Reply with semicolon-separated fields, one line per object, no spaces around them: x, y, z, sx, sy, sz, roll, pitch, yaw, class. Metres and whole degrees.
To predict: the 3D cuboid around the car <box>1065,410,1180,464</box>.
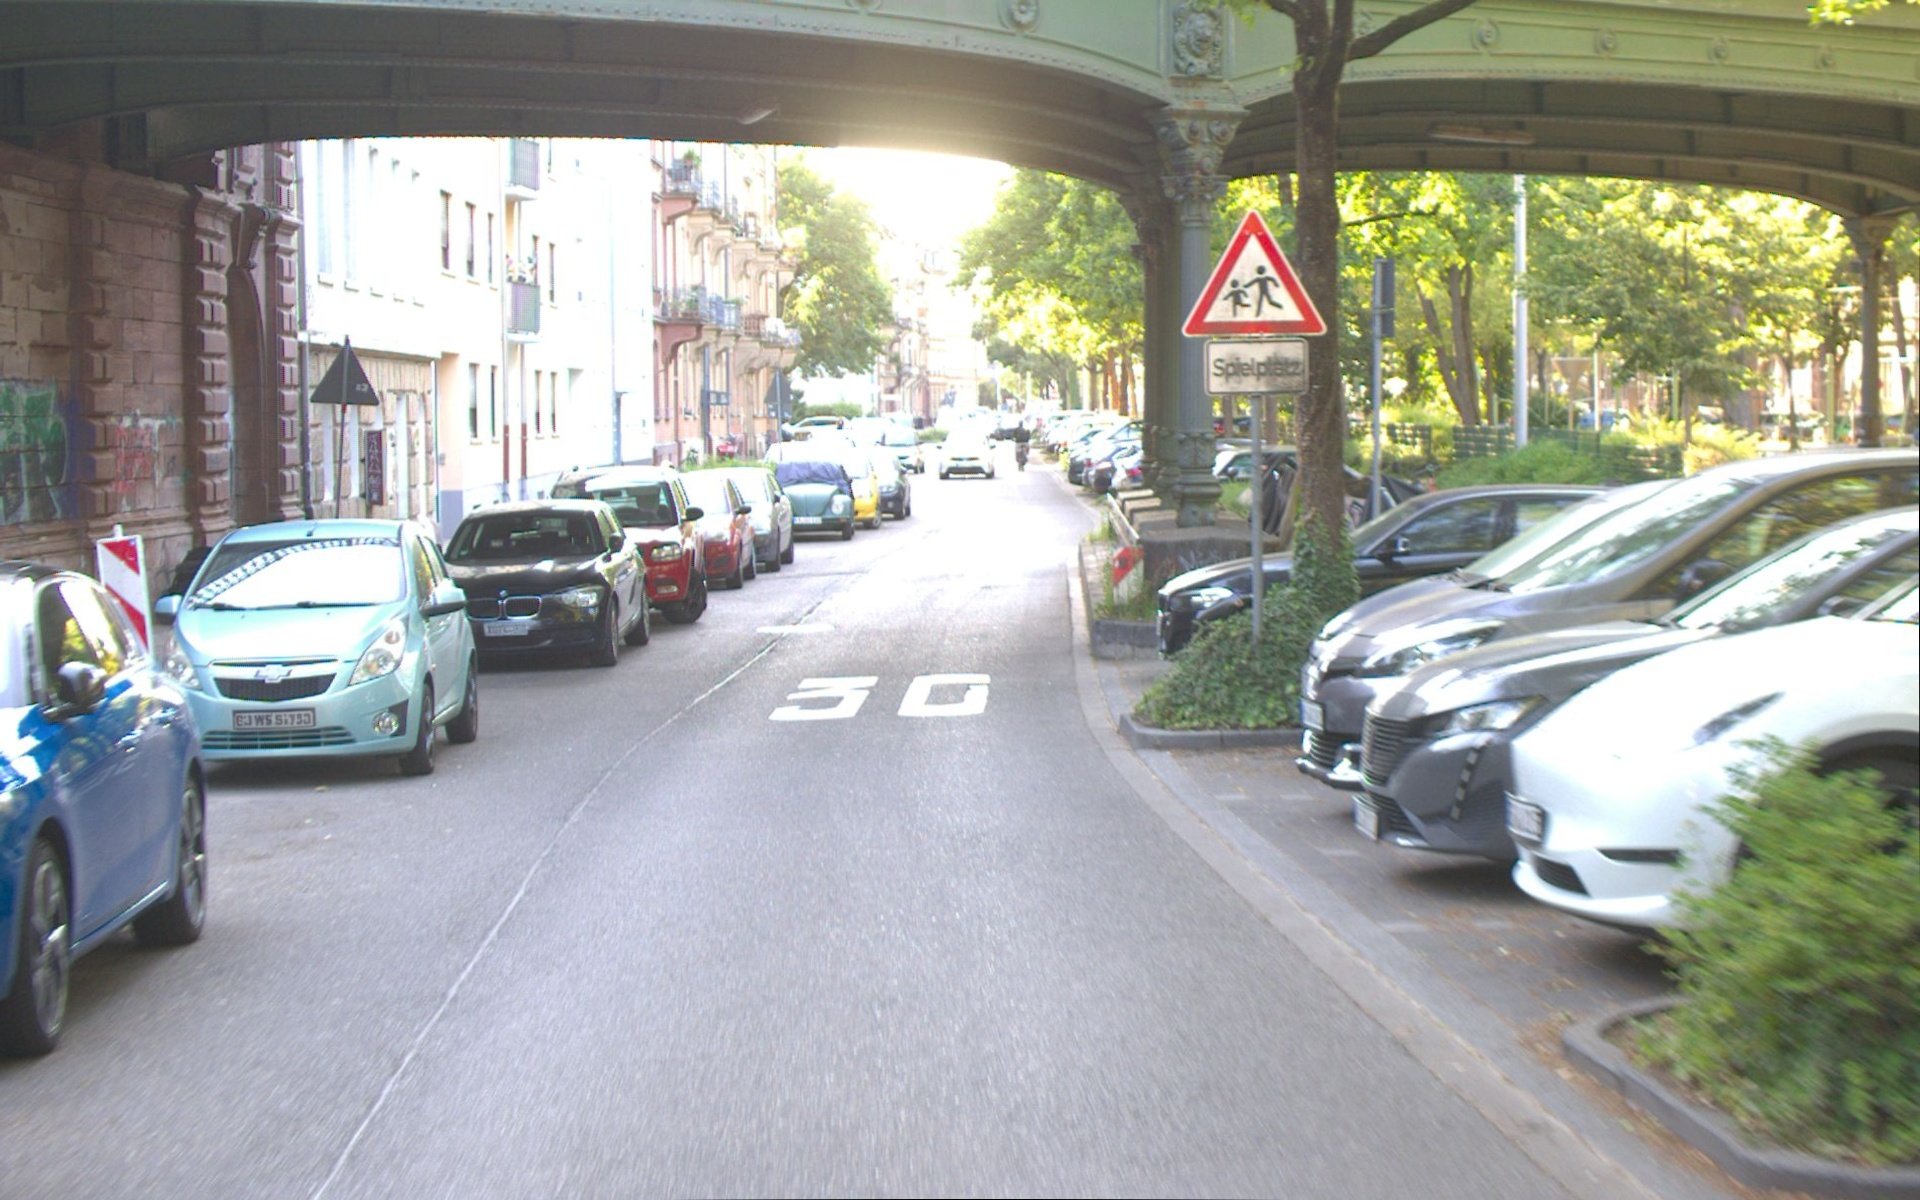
6.086;-6.135;129.215;4.220;1.857;1.762;-2;3;2;car

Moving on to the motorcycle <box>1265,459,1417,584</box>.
4.393;-0.908;39.601;1.602;1.403;0.712;1;2;21;motorcycle

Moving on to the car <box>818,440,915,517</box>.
-1.909;-2.542;71.502;1.739;1.474;4.001;-1;3;2;car

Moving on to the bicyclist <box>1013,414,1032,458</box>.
2.232;-5.846;122.571;0.627;1.567;0.802;1;1;-1;bicyclist

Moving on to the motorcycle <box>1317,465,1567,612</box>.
4.141;-0.531;29.575;1.929;1.233;0.905;0;2;-24;motorcycle

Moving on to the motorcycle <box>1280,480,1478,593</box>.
4.302;-0.652;35.313;1.831;1.128;0.851;0;2;-22;motorcycle

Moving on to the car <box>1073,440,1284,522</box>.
3.999;-2.187;63.380;3.782;1.396;1.827;-1;2;2;car

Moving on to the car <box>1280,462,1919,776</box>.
4.059;0.076;18.624;4.587;1.600;1.734;0;2;5;car

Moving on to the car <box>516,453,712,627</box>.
-3.672;-0.699;37.072;1.716;1.702;4.323;-2;3;-1;car

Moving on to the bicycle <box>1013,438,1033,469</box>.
2.241;-5.223;122.581;0.641;1.096;1.944;1;2;-1;bicycle

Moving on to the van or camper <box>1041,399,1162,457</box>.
5.997;-7.299;146.167;4.981;2.369;2.185;1;1;-1;van or camper

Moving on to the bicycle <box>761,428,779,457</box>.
-7.804;-6.470;141.403;0.705;1.143;1.890;1;2;-3;bicycle

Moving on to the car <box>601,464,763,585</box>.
-3.554;-1.009;44.607;1.689;1.436;4.001;-1;3;1;car

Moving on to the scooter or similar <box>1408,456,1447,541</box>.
7.179;-1.556;52.825;0.477;1.293;1.325;1;1;3;scooter or similar

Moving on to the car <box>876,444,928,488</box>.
-2.013;-4.697;120.535;1.504;1.430;2.753;-1;3;5;car

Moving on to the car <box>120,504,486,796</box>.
-3.956;0.224;21.260;1.594;1.542;3.916;-2;2;-2;car

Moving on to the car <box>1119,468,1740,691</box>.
3.440;-0.173;25.722;4.374;1.572;1.675;1;1;-1;car

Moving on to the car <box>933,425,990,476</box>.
0.065;-4.849;111.196;1.668;1.425;4.001;-3;4;1;car

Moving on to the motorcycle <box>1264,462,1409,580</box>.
4.559;-0.962;41.629;1.602;1.403;0.712;1;2;21;motorcycle

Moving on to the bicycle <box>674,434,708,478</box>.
-7.846;-4.210;100.349;0.737;1.202;2.514;1;4;1;bicycle

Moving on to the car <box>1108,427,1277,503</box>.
5.327;-3.107;79.093;3.782;1.640;1.664;-1;2;2;car

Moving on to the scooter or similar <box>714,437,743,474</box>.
-7.977;-4.965;118.359;0.783;1.218;2.704;1;2;0;scooter or similar

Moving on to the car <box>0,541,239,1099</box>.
-3.578;0.564;11.233;1.744;1.461;4.376;0;2;-3;car

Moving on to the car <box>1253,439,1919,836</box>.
3.674;0.149;15.892;4.374;1.702;1.907;0;1;-3;car

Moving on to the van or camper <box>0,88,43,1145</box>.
-3.272;0.114;5.359;2.235;2.514;6.422;1;2;-3;van or camper

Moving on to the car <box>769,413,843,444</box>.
-8.658;-9.627;193.060;3.987;1.700;2.000;1;1;2;car

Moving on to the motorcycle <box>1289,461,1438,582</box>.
4.759;-0.929;40.505;1.602;1.403;0.712;1;2;21;motorcycle

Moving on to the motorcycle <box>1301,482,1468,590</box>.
4.519;-0.686;36.591;1.599;1.128;0.713;0;1;-16;motorcycle

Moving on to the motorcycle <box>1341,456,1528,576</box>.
4.554;-0.801;32.952;1.720;1.128;0.712;0;2;-33;motorcycle

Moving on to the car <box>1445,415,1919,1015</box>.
3.932;0.317;10.700;4.532;1.690;1.908;1;1;-1;car

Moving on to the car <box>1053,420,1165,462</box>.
5.810;-6.174;133.563;4.220;1.448;1.649;-2;3;5;car

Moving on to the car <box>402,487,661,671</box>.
-3.811;-0.244;31.177;1.717;1.459;4.001;-1;3;1;car

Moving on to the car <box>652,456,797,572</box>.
-3.348;-1.272;49.518;1.637;1.461;4.001;-3;3;1;car

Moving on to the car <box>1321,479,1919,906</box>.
3.711;0.322;13.384;4.374;1.527;1.876;1;1;-1;car

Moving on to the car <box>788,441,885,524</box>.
-2.364;-2.298;66.645;1.702;1.519;3.774;-1;3;0;car

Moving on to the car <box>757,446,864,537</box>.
-2.622;-1.957;61.144;1.567;1.512;3.782;-1;3;2;car

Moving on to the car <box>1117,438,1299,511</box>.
5.321;-2.678;73.509;3.783;1.442;1.664;-1;2;6;car
